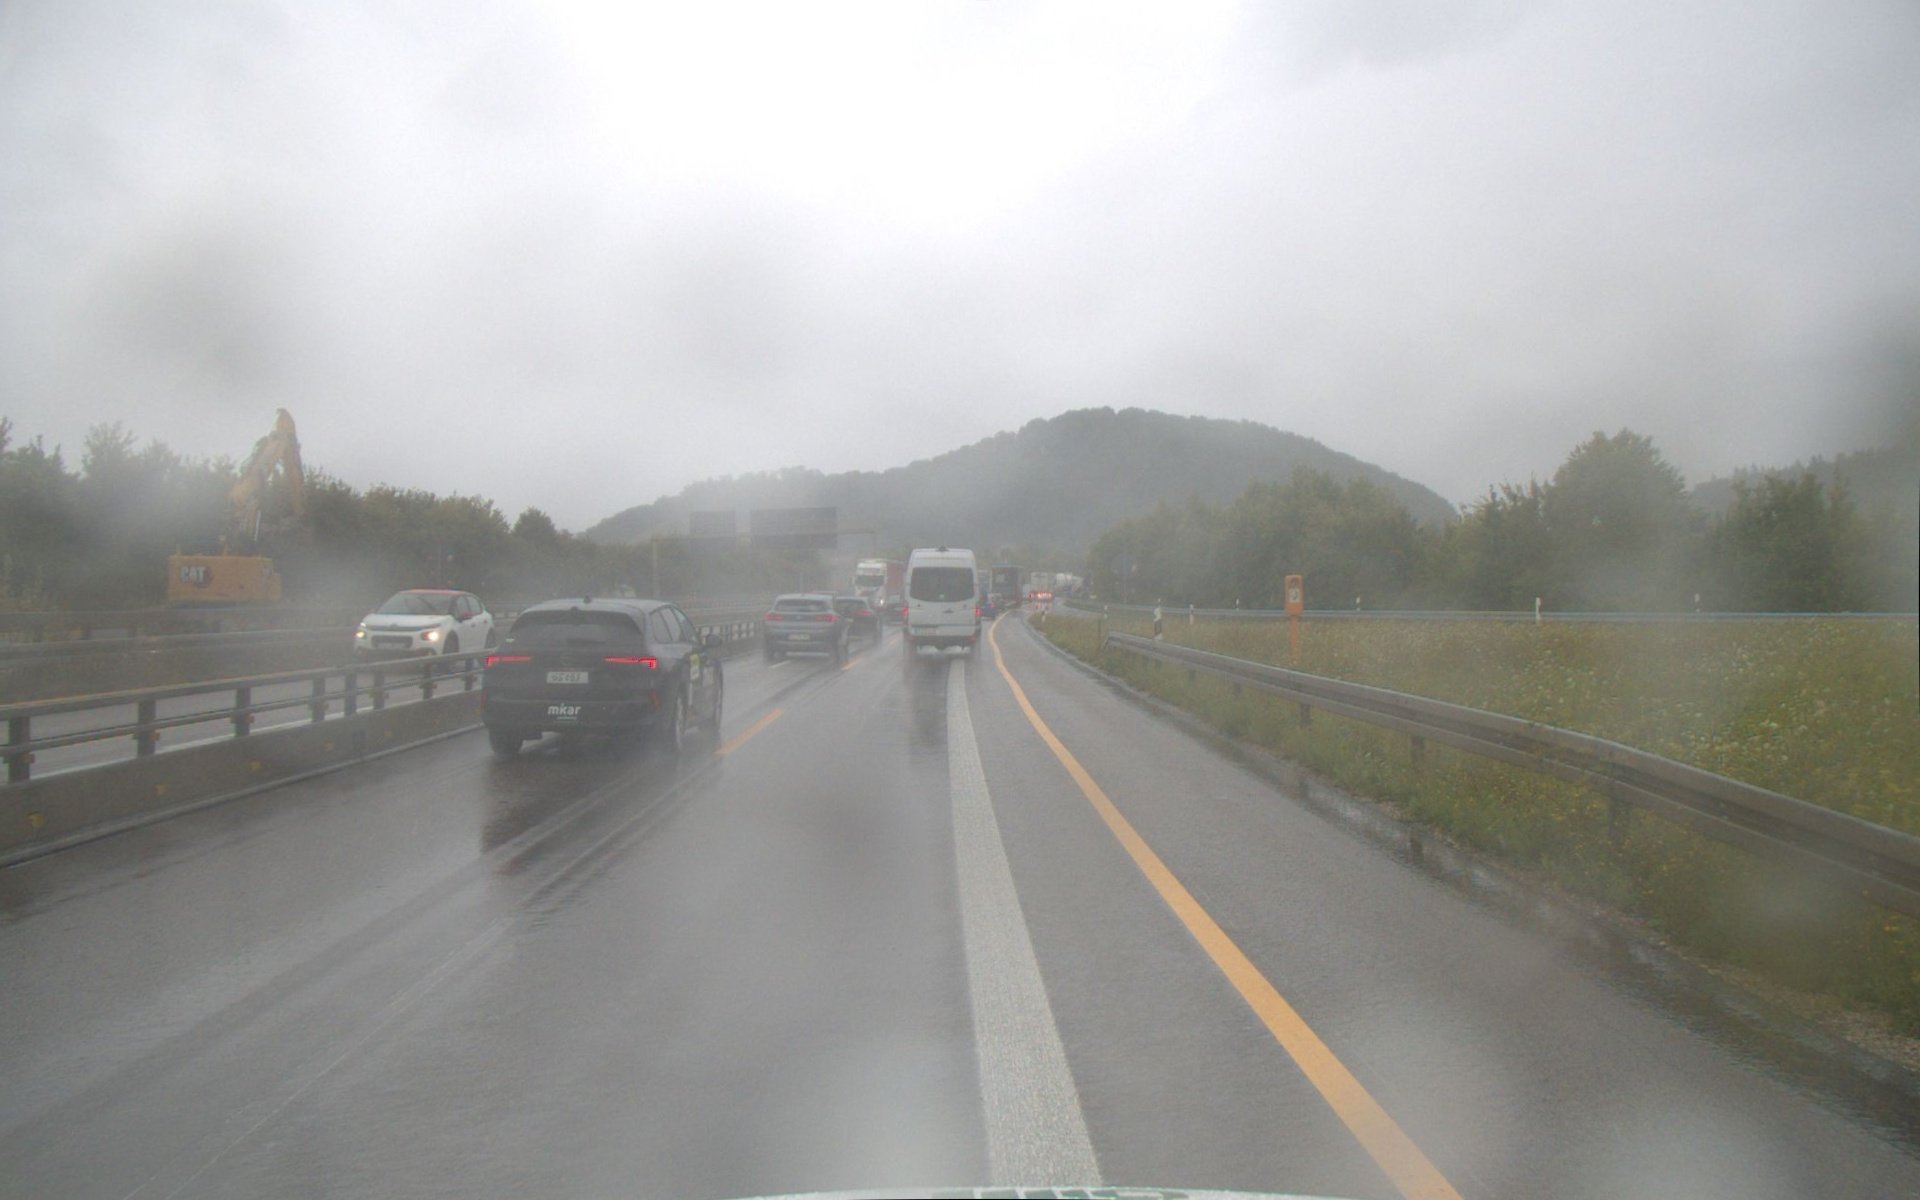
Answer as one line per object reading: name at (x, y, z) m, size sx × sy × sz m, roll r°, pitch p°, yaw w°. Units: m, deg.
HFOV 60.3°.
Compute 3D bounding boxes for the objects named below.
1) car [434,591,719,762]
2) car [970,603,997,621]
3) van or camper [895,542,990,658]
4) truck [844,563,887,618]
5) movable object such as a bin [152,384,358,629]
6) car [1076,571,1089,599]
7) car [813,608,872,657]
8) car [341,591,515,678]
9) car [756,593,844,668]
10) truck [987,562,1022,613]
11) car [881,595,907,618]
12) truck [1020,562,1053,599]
car at (-3.667, 0.670, 16.713) m, size 1.900 × 1.452 × 4.758 m, roll 1°, pitch 0°, yaw -2°
car at (1.425, 0.718, 100.854) m, size 1.357 × 1.097 × 3.120 m, roll 0°, pitch 0°, yaw -4°
van or camper at (-0.499, 0.005, 41.917) m, size 2.097 × 2.769 × 4.644 m, roll 0°, pitch 0°, yaw -4°
truck at (-7.743, -0.763, 136.668) m, size 2.945 × 4.347 × 6.801 m, roll -1°, pitch 0°, yaw 2°
movable object such as a bin at (-25.615, -3.175, 60.718) m, size 3.521 × 8.286 × 8.310 m, roll 1°, pitch 0°, yaw 2°
car at (19.415, -2.356, 261.710) m, size 2.014 × 4.265 × 6.749 m, roll 0°, pitch 0°, yaw 4°
car at (-3.918, 1.064, 55.564) m, size 1.815 × 1.527 × 3.998 m, roll 0°, pitch 0°, yaw -2°
car at (-9.976, 0.621, 31.368) m, size 1.953 × 1.532 × 4.295 m, roll 1°, pitch 0°, yaw -1°
car at (-3.751, 0.693, 39.318) m, size 1.829 × 1.688 × 3.986 m, roll 0°, pitch 0°, yaw -2°
truck at (4.503, -1.165, 164.718) m, size 3.251 × 4.868 × 9.909 m, roll 2°, pitch 0°, yaw 2°
car at (-3.237, 0.333, 81.291) m, size 1.237 × 1.097 × 3.253 m, roll 0°, pitch 0°, yaw -1°
truck at (10.687, -2.683, 231.198) m, size 3.845 × 4.868 × 9.913 m, roll 1°, pitch 0°, yaw 7°
